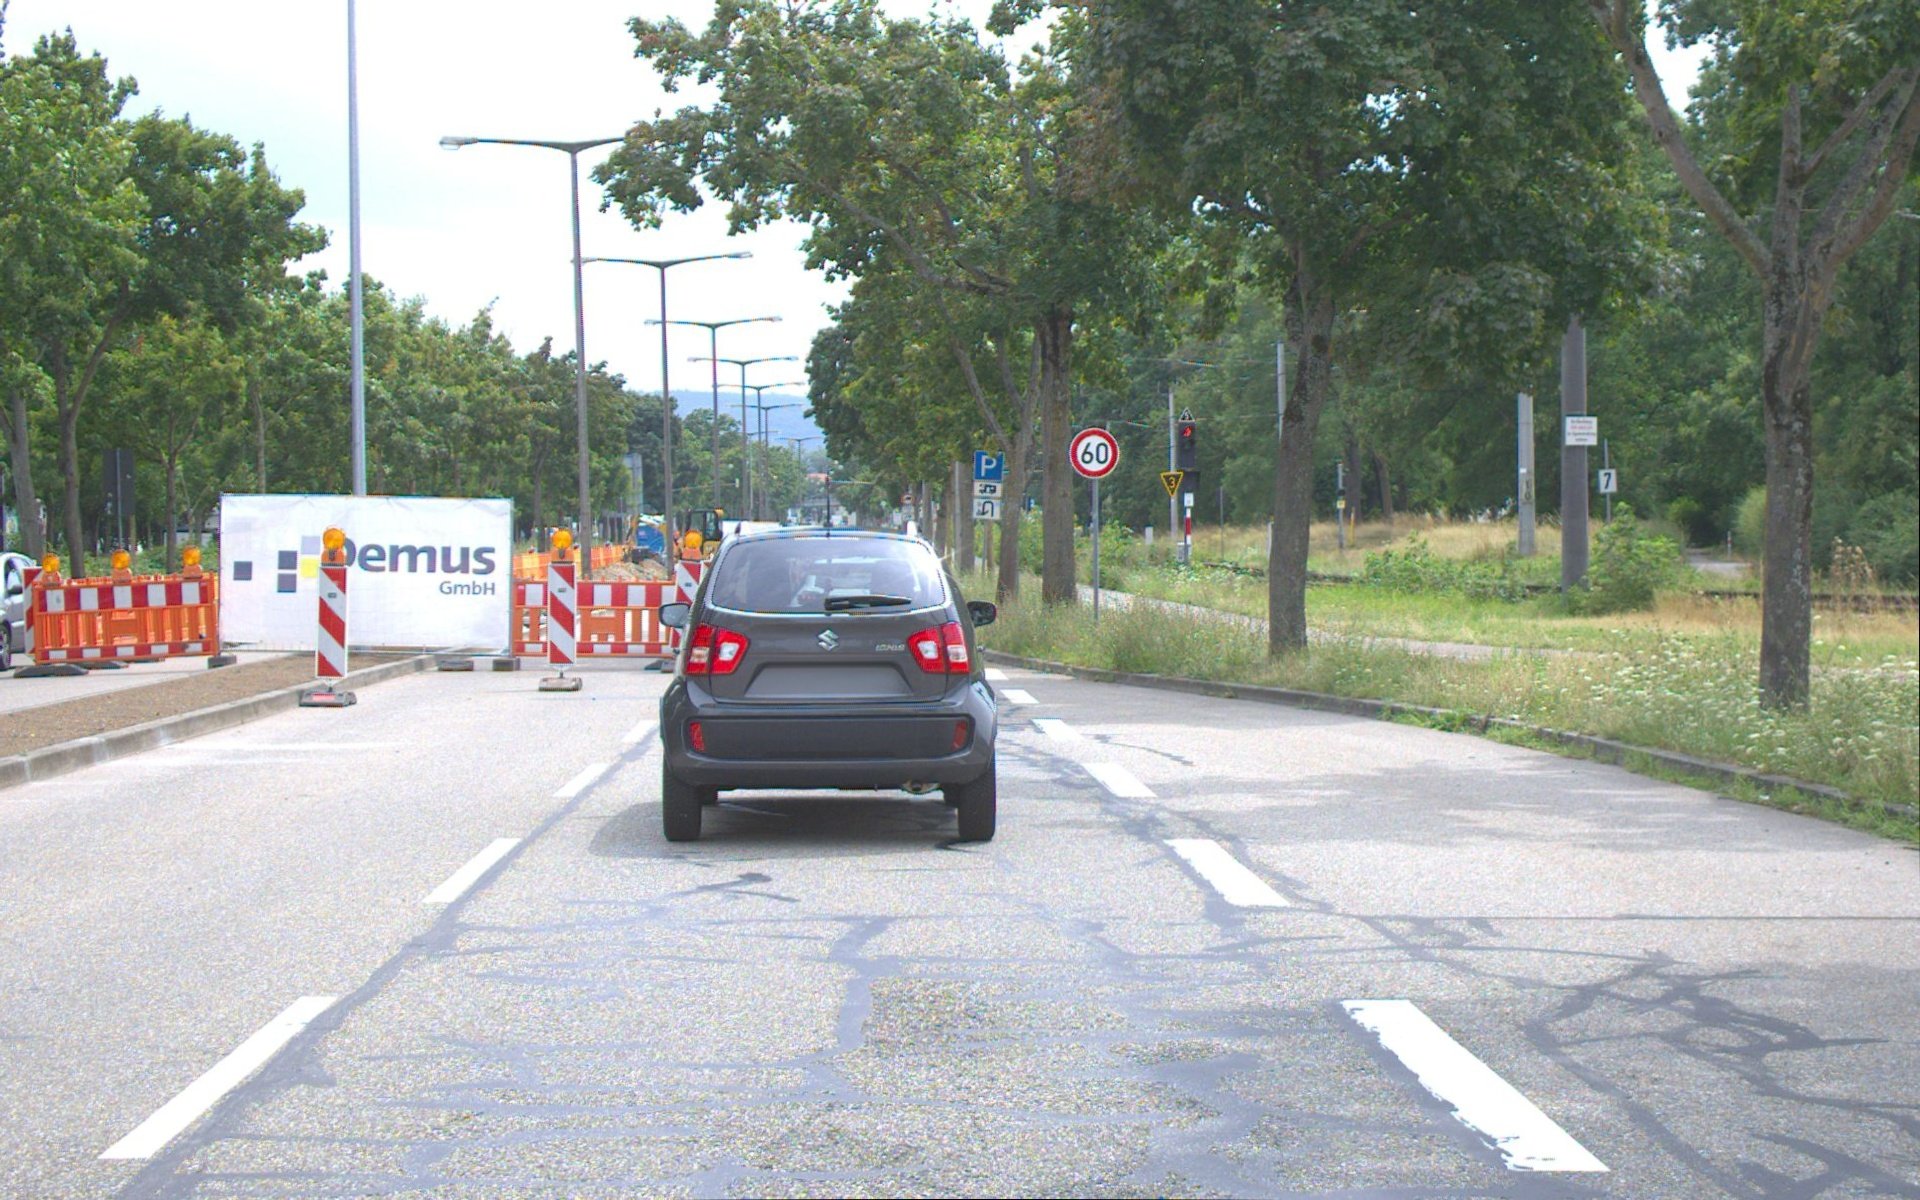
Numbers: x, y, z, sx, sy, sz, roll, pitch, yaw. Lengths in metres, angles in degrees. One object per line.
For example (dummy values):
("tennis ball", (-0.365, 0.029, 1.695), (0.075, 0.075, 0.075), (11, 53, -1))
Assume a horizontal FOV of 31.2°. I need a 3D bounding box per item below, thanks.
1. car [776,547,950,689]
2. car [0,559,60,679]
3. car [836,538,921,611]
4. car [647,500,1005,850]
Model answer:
("car", (-1.142, 0.162, 38.777), (1.766, 1.459, 4.001), (-1, 2, -4))
("car", (-13.024, 0.256, 44.585), (1.703, 1.472, 4.001), (-2, 2, -2))
("car", (-1.882, -0.599, 78.538), (1.793, 1.556, 4.001), (-1, 2, -3))
("car", (-0.720, 0.312, 18.447), (1.703, 1.663, 4.001), (0, 1, -2))
